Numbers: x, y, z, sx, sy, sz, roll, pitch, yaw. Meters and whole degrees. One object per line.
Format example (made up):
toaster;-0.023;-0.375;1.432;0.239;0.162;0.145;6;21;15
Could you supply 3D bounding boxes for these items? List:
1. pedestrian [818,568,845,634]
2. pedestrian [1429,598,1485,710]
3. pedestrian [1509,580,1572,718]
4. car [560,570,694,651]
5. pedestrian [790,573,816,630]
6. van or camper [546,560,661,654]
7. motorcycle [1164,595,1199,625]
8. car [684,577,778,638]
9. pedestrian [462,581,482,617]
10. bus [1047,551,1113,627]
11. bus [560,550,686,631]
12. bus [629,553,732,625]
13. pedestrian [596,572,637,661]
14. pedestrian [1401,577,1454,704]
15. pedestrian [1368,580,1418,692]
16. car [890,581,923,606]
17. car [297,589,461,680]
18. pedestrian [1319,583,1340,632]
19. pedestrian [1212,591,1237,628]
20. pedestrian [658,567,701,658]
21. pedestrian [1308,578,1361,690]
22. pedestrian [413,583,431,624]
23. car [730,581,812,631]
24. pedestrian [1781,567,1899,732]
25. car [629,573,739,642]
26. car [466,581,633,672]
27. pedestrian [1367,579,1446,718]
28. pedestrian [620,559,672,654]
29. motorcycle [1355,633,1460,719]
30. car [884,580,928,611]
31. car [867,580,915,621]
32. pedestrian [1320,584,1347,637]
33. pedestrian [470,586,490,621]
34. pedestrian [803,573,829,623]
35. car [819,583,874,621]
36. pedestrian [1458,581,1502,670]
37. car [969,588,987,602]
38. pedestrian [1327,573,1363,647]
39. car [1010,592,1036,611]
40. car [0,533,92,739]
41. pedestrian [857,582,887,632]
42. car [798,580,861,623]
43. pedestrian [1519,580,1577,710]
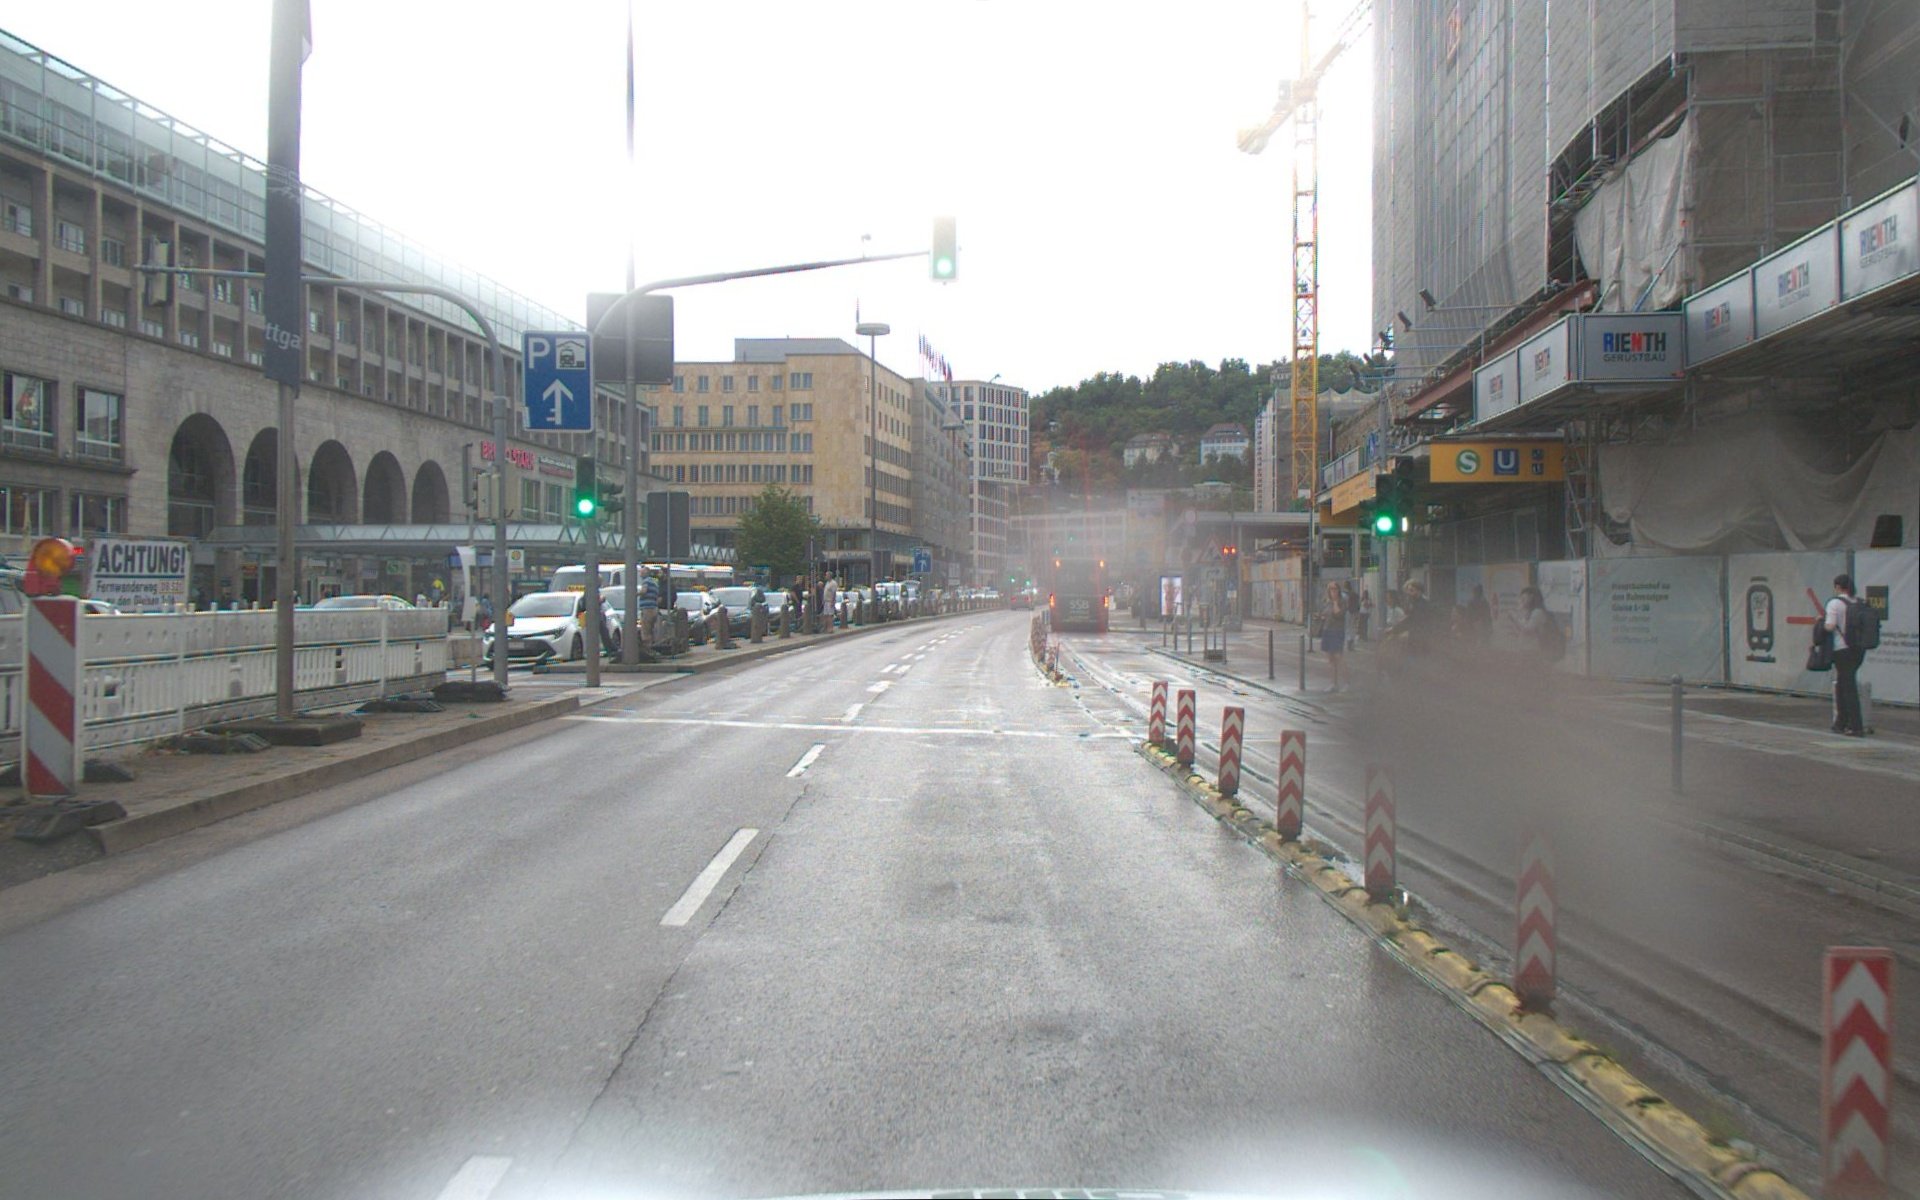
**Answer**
pedestrian;-4.062;0.026;52.428;0.707;2.042;0.773;1;1;4
pedestrian;6.805;0.727;22.662;0.546;1.474;0.712;-3;0;5
pedestrian;7.284;0.599;20.771;0.546;1.679;0.615;-3;0;5
car;-7.699;0.218;38.718;1.889;1.720;4.684;-1;0;3
pedestrian;-4.970;0.036;52.363;0.684;1.785;0.712;0;1;4
van or camper;-10.533;0.162;49.348;1.952;2.558;5.372;-3;1;2
motorcycle;9.123;0.407;68.106;0.576;1.186;1.607;1;0;43
car;-6.851;0.198;50.016;1.889;1.720;4.684;-1;0;3
pedestrian;-19.728;-0.032;66.877;0.695;1.417;0.699;1;1;-23
bus;5.408;-0.497;73.919;2.697;3.122;9.085;1;0;4
bus;-15.175;-0.483;75.389;2.817;3.435;10.580;0;1;4
bus;-14.387;-0.585;86.053;2.817;3.520;10.580;0;1;4
pedestrian;-6.820;0.321;32.878;0.637;1.741;0.593;1;1;2
pedestrian;6.777;0.572;23.990;0.546;1.782;0.712;-3;0;5
pedestrian;6.693;0.546;25.589;0.546;1.669;0.752;-3;0;5
car;-3.567;-0.444;110.495;1.952;1.579;4.001;0;0;2
car;-11.647;0.645;33.436;1.776;1.638;4.045;1;1;1
pedestrian;14.355;0.288;64.267;0.631;1.880;0.659;-3;0;4
pedestrian;12.123;0.439;75.841;0.890;1.664;0.826;0;0;32
pedestrian;-5.707;0.242;33.701;0.767;1.806;0.605;-3;0;-8
pedestrian;6.129;0.547;27.097;0.548;1.789;0.750;-3;0;-9
pedestrian;-20.676;0.129;63.548;0.576;1.533;0.621;1;1;-26
car;-6.471;0.185;57.099;1.889;1.604;5.263;-2;0;3
pedestrian;9.460;0.513;17.809;0.720;1.707;0.958;-3;0;3
car;-7.349;0.186;44.447;1.889;1.720;4.684;-1;0;3
car;-8.028;0.454;32.820;1.973;1.649;4.843;0;1;2
pedestrian;5.827;0.610;21.603;0.576;1.771;0.810;0;0;-39
pedestrian;-6.100;0.119;32.126;0.549;1.806;0.749;-2;0;38
motorcycle;5.836;0.974;21.595;0.580;1.039;1.222;0;1;-39
car;-3.175;-0.279;97.800;1.951;1.752;4.785;0;1;6
car;-3.811;-0.020;92.466;1.951;2.216;5.548;0;1;5
pedestrian;11.406;0.325;50.539;0.637;1.566;0.665;-3;0;5
pedestrian;-20.226;0.146;69.642;0.696;1.417;0.698;1;1;-26
pedestrian;-4.891;-0.074;56.160;0.707;1.634;0.996;1;1;4
car;-5.143;0.067;75.521;1.889;1.604;5.054;-2;0;3
pedestrian;10.043;0.477;31.976;0.538;1.660;0.996;-3;0;4
car;2.368;-0.666;212.774;1.921;1.591;4.838;-2;1;4
pedestrian;10.090;0.259;43.367;0.708;1.880;0.810;-3;0;4
car;5.334;0.080;140.183;1.951;1.579;4.003;0;0;6
car;-8.988;0.295;12.979;1.864;1.729;4.501;1;1;1
pedestrian;-3.250;0.256;60.910;1.028;1.799;0.617;0;0;3
car;-5.441;0.045;69.736;1.935;1.688;5.195;-2;0;3
pedestrian;7.789;0.584;21.919;0.552;1.679;0.615;-3;0;8
